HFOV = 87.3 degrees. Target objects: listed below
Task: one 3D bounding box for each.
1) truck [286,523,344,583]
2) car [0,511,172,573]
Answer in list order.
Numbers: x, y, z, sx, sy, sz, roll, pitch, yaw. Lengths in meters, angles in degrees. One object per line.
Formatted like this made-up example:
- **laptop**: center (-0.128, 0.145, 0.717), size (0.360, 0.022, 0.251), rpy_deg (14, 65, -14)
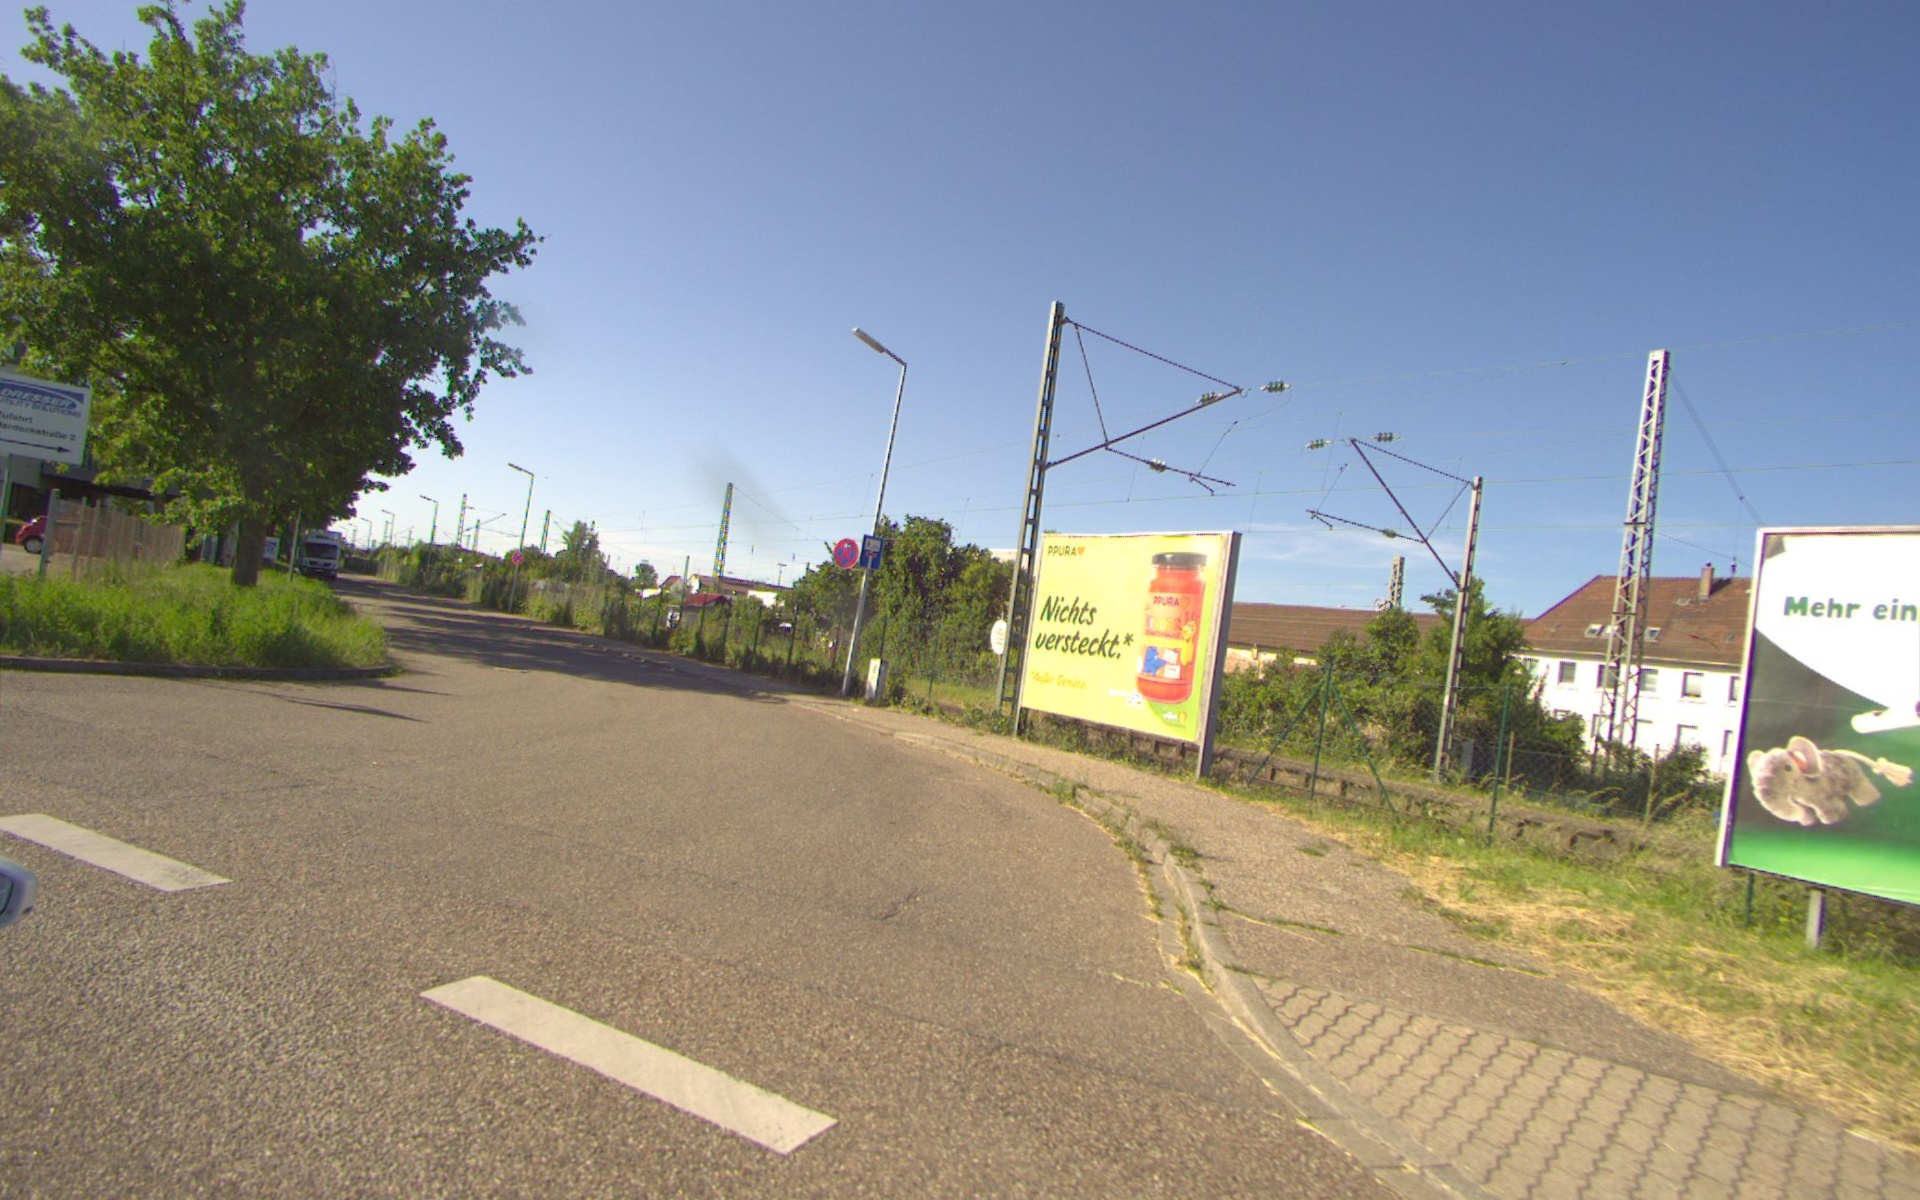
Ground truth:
- **truck**: center (-50.891, -3.734, 79.161), size (2.601, 3.928, 13.401), rpy_deg (10, -3, -36)
- **car**: center (-33.116, -2.168, 37.995), size (4.877, 1.501, 1.984), rpy_deg (10, -1, -30)
